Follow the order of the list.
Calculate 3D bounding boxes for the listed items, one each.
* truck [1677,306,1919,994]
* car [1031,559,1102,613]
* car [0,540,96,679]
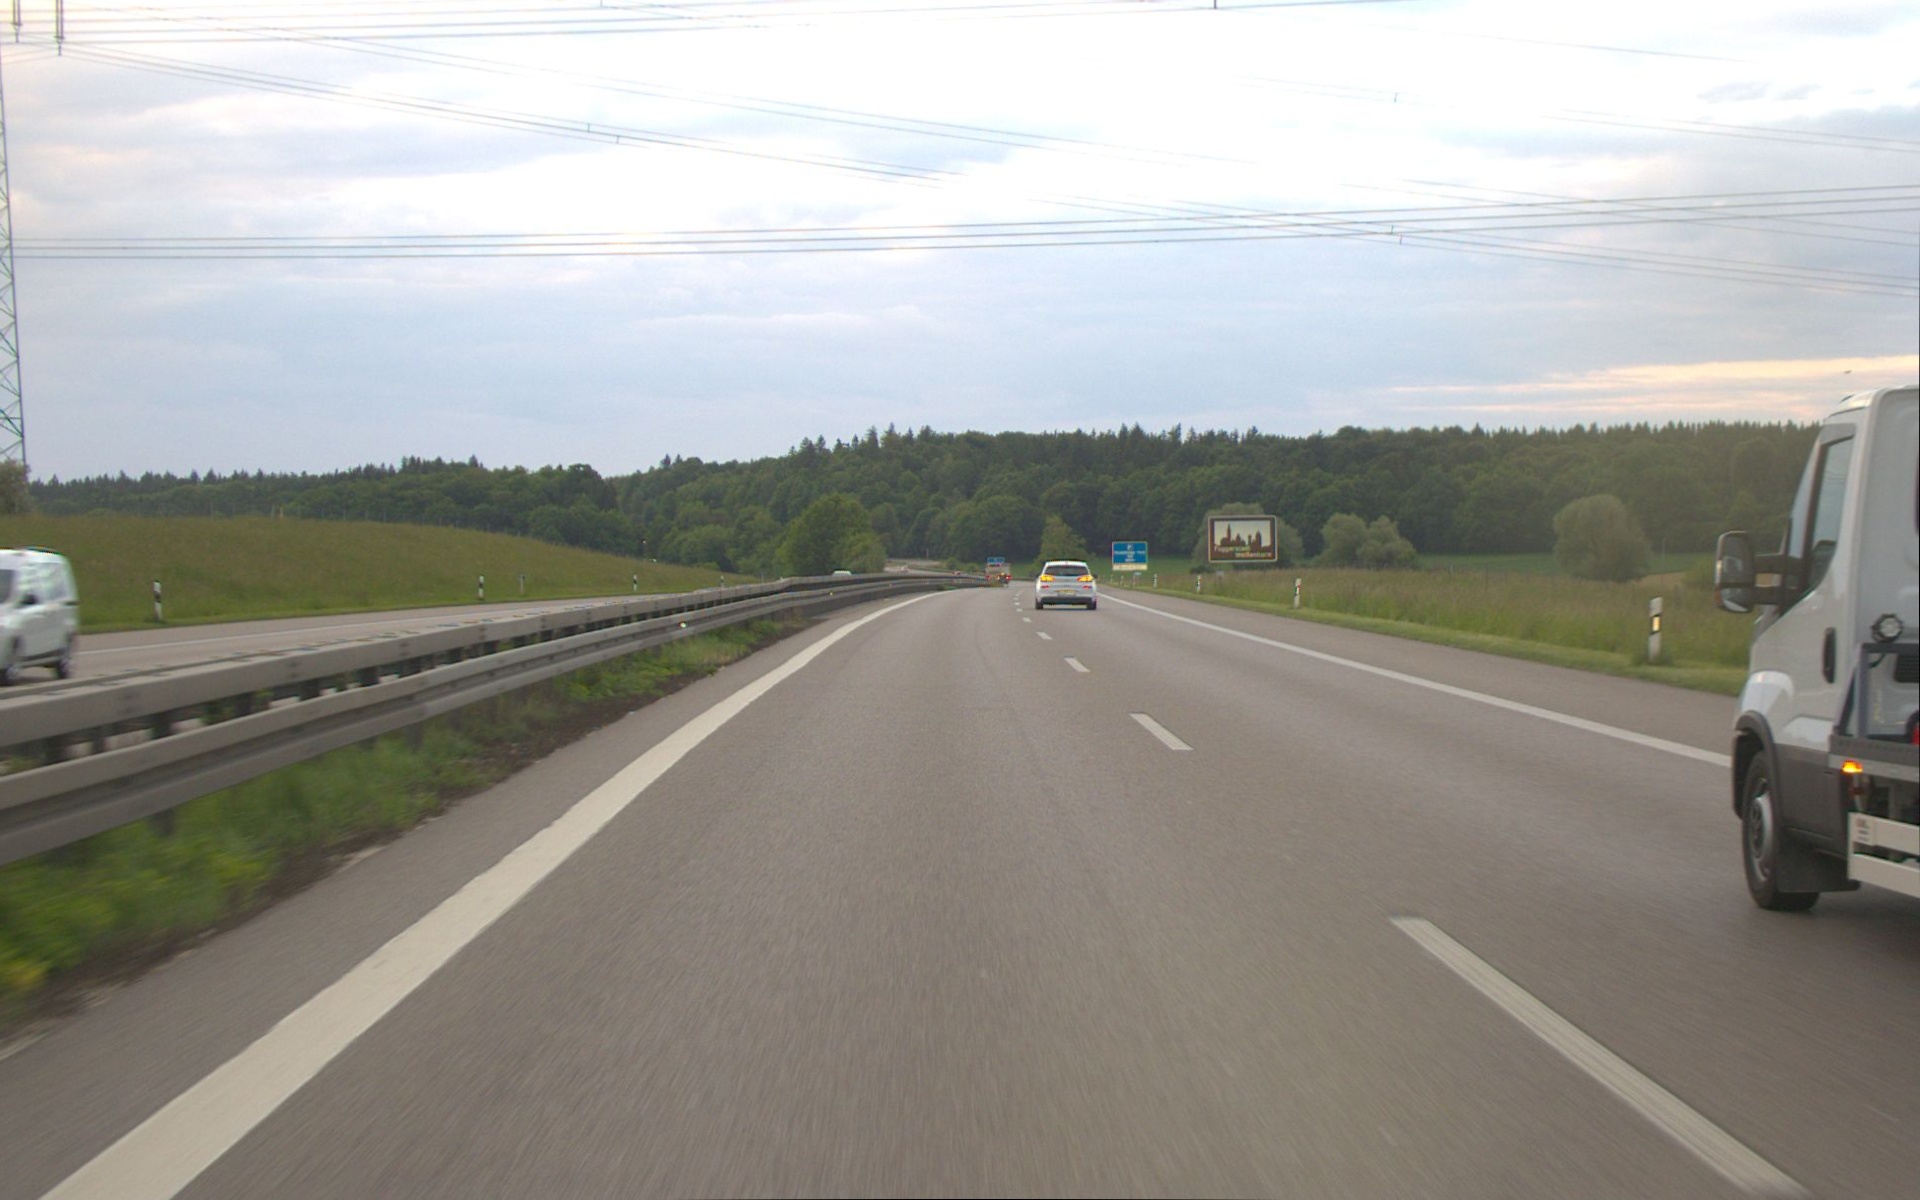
[{"bbox_3d":[4.374,0.186,11.853,2.172,2.352,7.697,1,1,0],"label":"truck"},{"bbox_3d":[3.169,-0.425,102.859,1.951,1.526,4.080,1,1,0],"label":"car"},{"bbox_3d":[-13.262,0.097,46.836,1.760,1.796,4.995,-1,1,-1],"label":"car"}]
